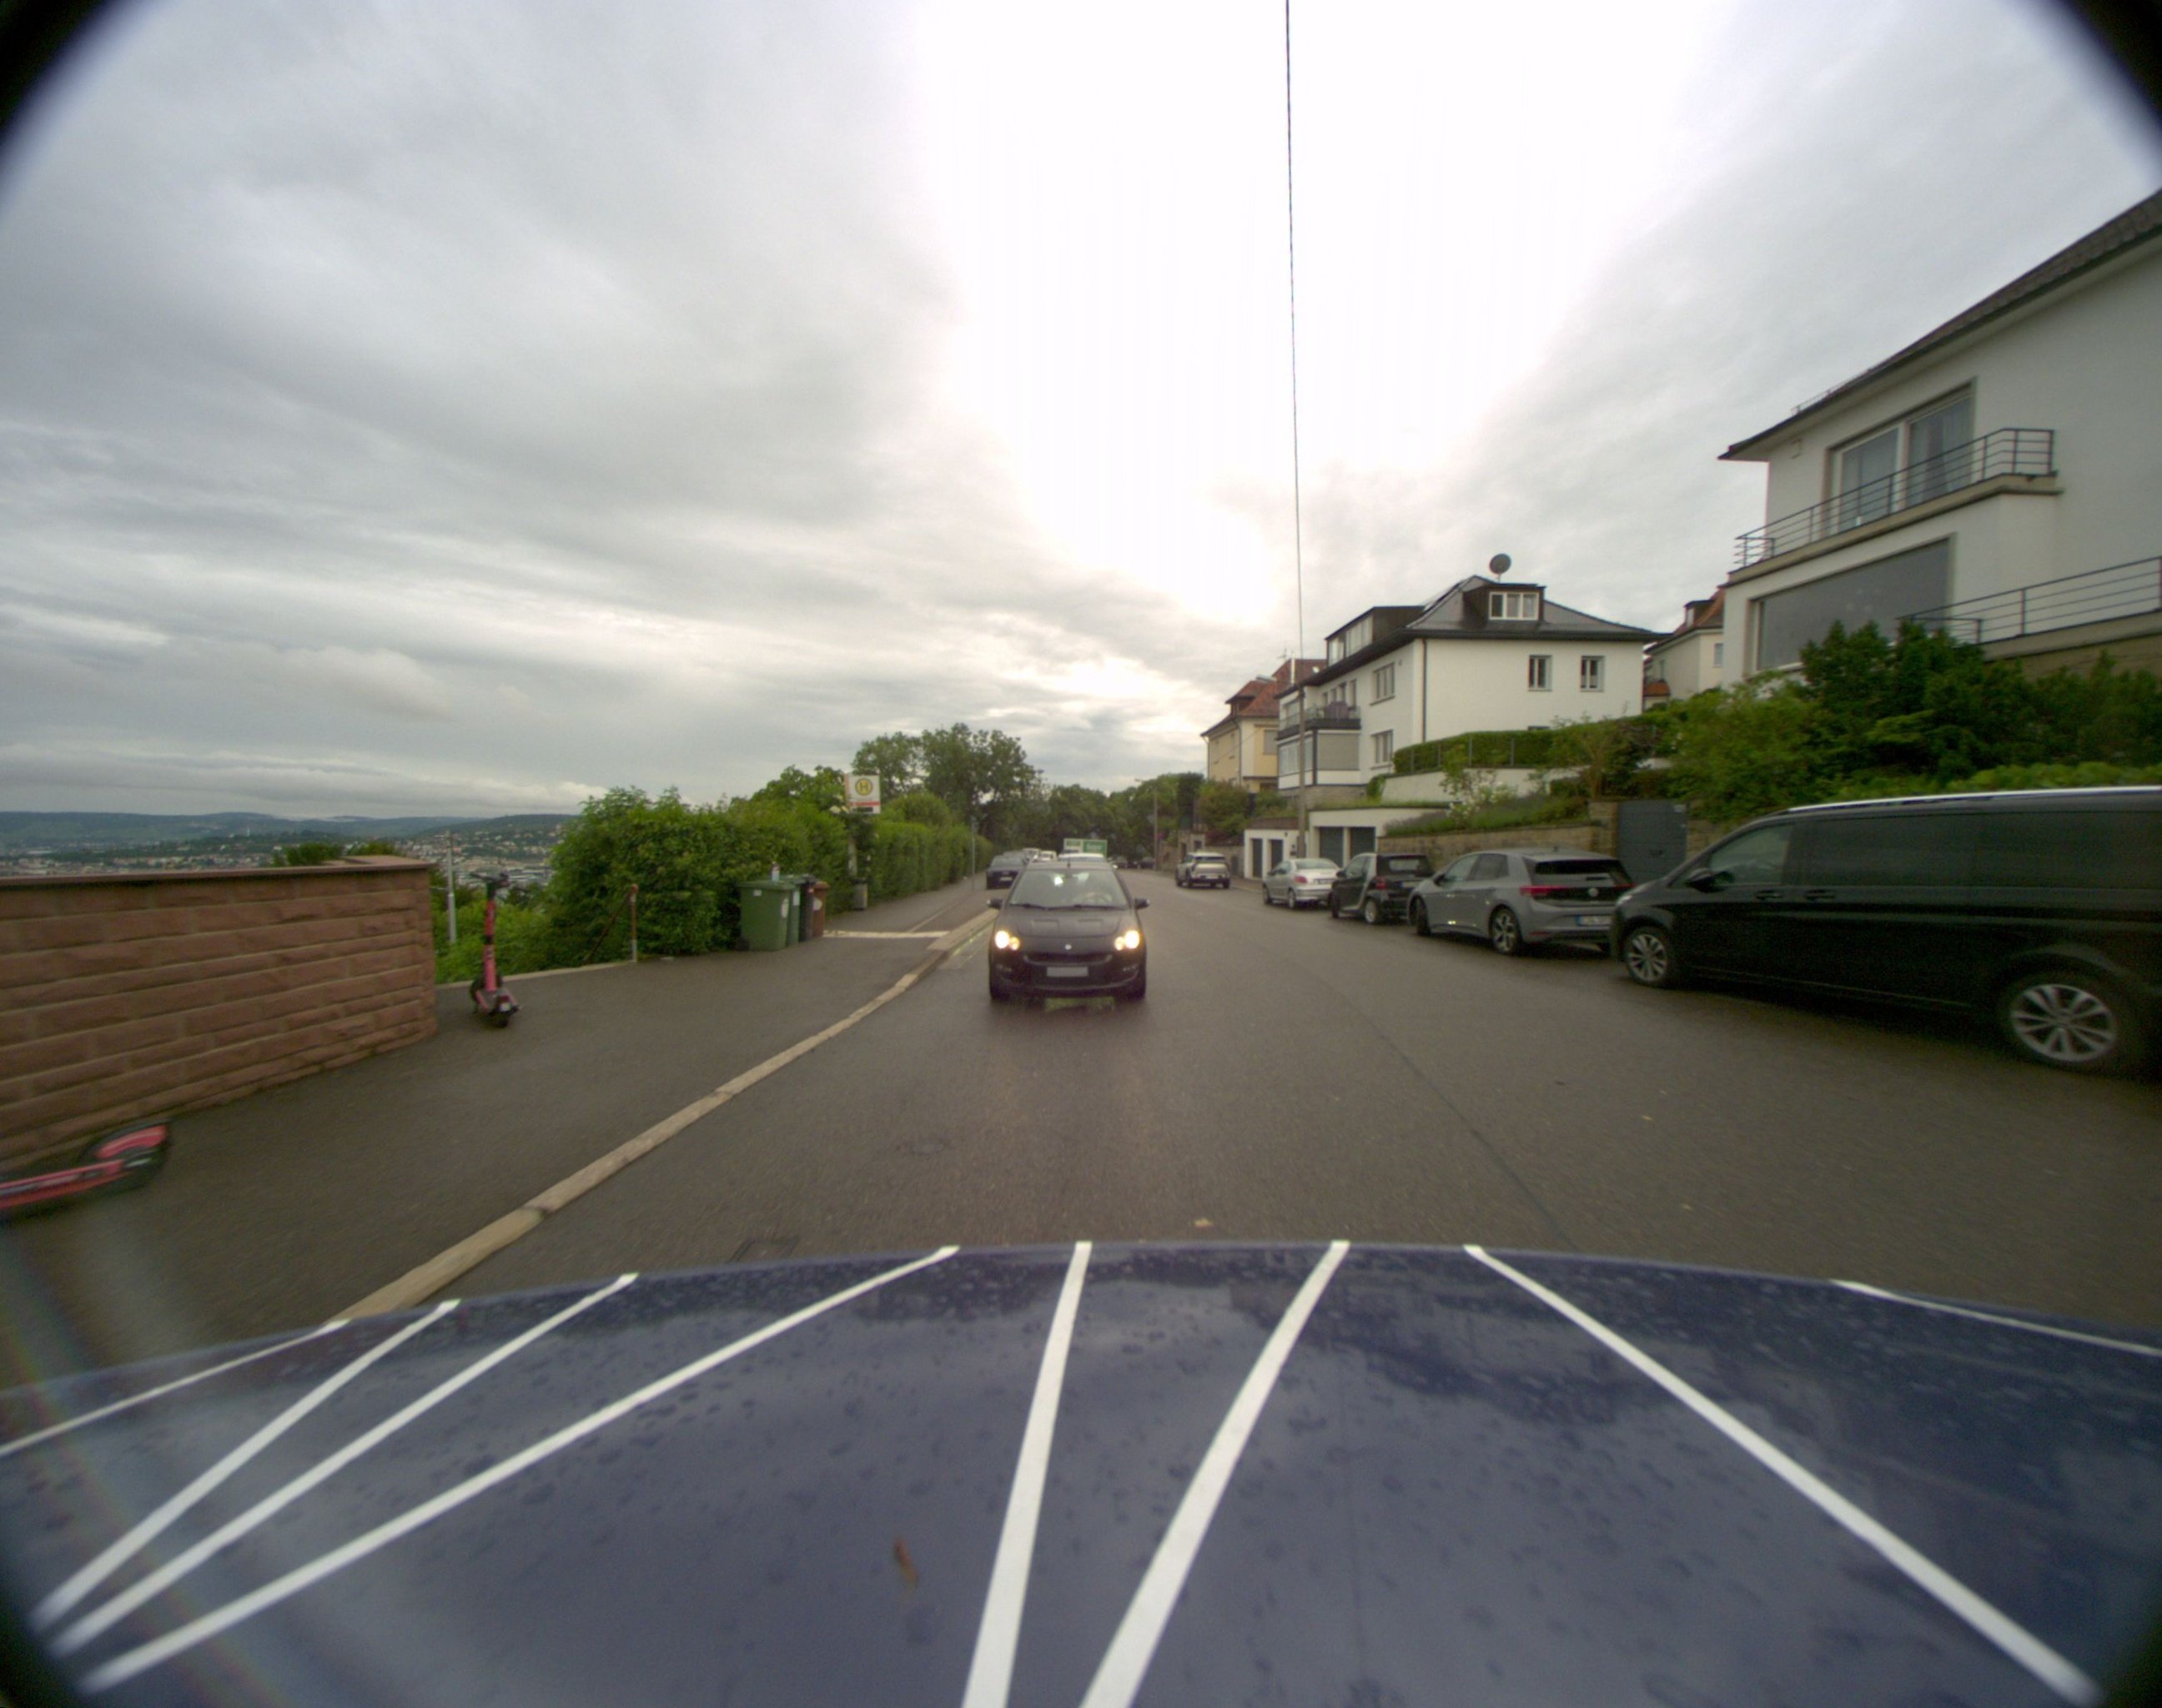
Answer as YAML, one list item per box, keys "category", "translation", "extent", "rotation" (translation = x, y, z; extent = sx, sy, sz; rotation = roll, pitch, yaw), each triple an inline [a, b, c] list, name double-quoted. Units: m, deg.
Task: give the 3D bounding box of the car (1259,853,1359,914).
- category: "car"
  translation: [6.328, 0.770, 21.421]
  extent: [1.594, 1.482, 3.436]
  rotation: [-3, 1, -3]

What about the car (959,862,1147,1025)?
- category: "car"
  translation: [-0.099, 0.884, 9.217]
  extent: [1.710, 1.414, 4.001]
  rotation: [-2, 1, 6]

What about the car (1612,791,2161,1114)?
- category: "car"
  translation: [7.319, 0.559, 6.416]
  extent: [1.999, 1.946, 4.771]
  rotation: [-2, 0, -6]

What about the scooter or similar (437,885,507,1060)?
- category: "scooter or similar"
  translation: [-5.204, 0.945, 6.472]
  extent: [0.357, 1.265, 1.290]
  rotation: [-3, 4, -42]

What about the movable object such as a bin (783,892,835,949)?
- category: "movable object such as a bin"
  translation: [-4.465, 1.085, 12.500]
  extent: [0.613, 0.859, 0.589]
  rotation: [-2, 1, 0]

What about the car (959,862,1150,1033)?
- category: "car"
  translation: [-0.084, 0.913, 9.158]
  extent: [1.695, 1.482, 3.941]
  rotation: [-3, 0, 6]

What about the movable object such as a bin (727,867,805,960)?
- category: "movable object such as a bin"
  translation: [-4.544, 0.841, 11.015]
  extent: [0.727, 1.239, 0.916]
  rotation: [2, 1, 0]

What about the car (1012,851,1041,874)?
- category: "car"
  translation: [-3.766, 0.533, 52.827]
  extent: [1.929, 1.447, 3.998]
  rotation: [-2, 1, -3]

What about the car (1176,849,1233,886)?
- category: "car"
  translation: [5.507, 0.580, 34.332]
  extent: [1.869, 1.492, 3.999]
  rotation: [-2, 1, -1]

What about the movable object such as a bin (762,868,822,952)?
- category: "movable object such as a bin"
  translation: [-4.491, 0.857, 11.837]
  extent: [0.613, 1.239, 0.684]
  rotation: [-2, 1, 0]

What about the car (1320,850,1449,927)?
- category: "car"
  translation: [6.623, 0.697, 16.850]
  extent: [1.522, 1.482, 2.893]
  rotation: [-3, 1, -3]

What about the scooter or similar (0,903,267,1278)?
- category: "scooter or similar"
  translation: [-4.370, 0.952, 3.011]
  extent: [0.355, 1.394, 1.480]
  rotation: [-1, 1, 21]

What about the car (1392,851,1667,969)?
- category: "car"
  translation: [6.881, 0.740, 12.322]
  extent: [1.696, 1.482, 4.402]
  rotation: [-3, 0, -2]

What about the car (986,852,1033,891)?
- category: "car"
  translation: [-3.217, 0.747, 34.748]
  extent: [1.929, 1.577, 3.998]
  rotation: [-2, 1, -3]

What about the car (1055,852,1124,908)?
- category: "car"
  translation: [0.191, 0.772, 24.639]
  extent: [1.929, 1.577, 3.998]
  rotation: [-2, 1, -3]
